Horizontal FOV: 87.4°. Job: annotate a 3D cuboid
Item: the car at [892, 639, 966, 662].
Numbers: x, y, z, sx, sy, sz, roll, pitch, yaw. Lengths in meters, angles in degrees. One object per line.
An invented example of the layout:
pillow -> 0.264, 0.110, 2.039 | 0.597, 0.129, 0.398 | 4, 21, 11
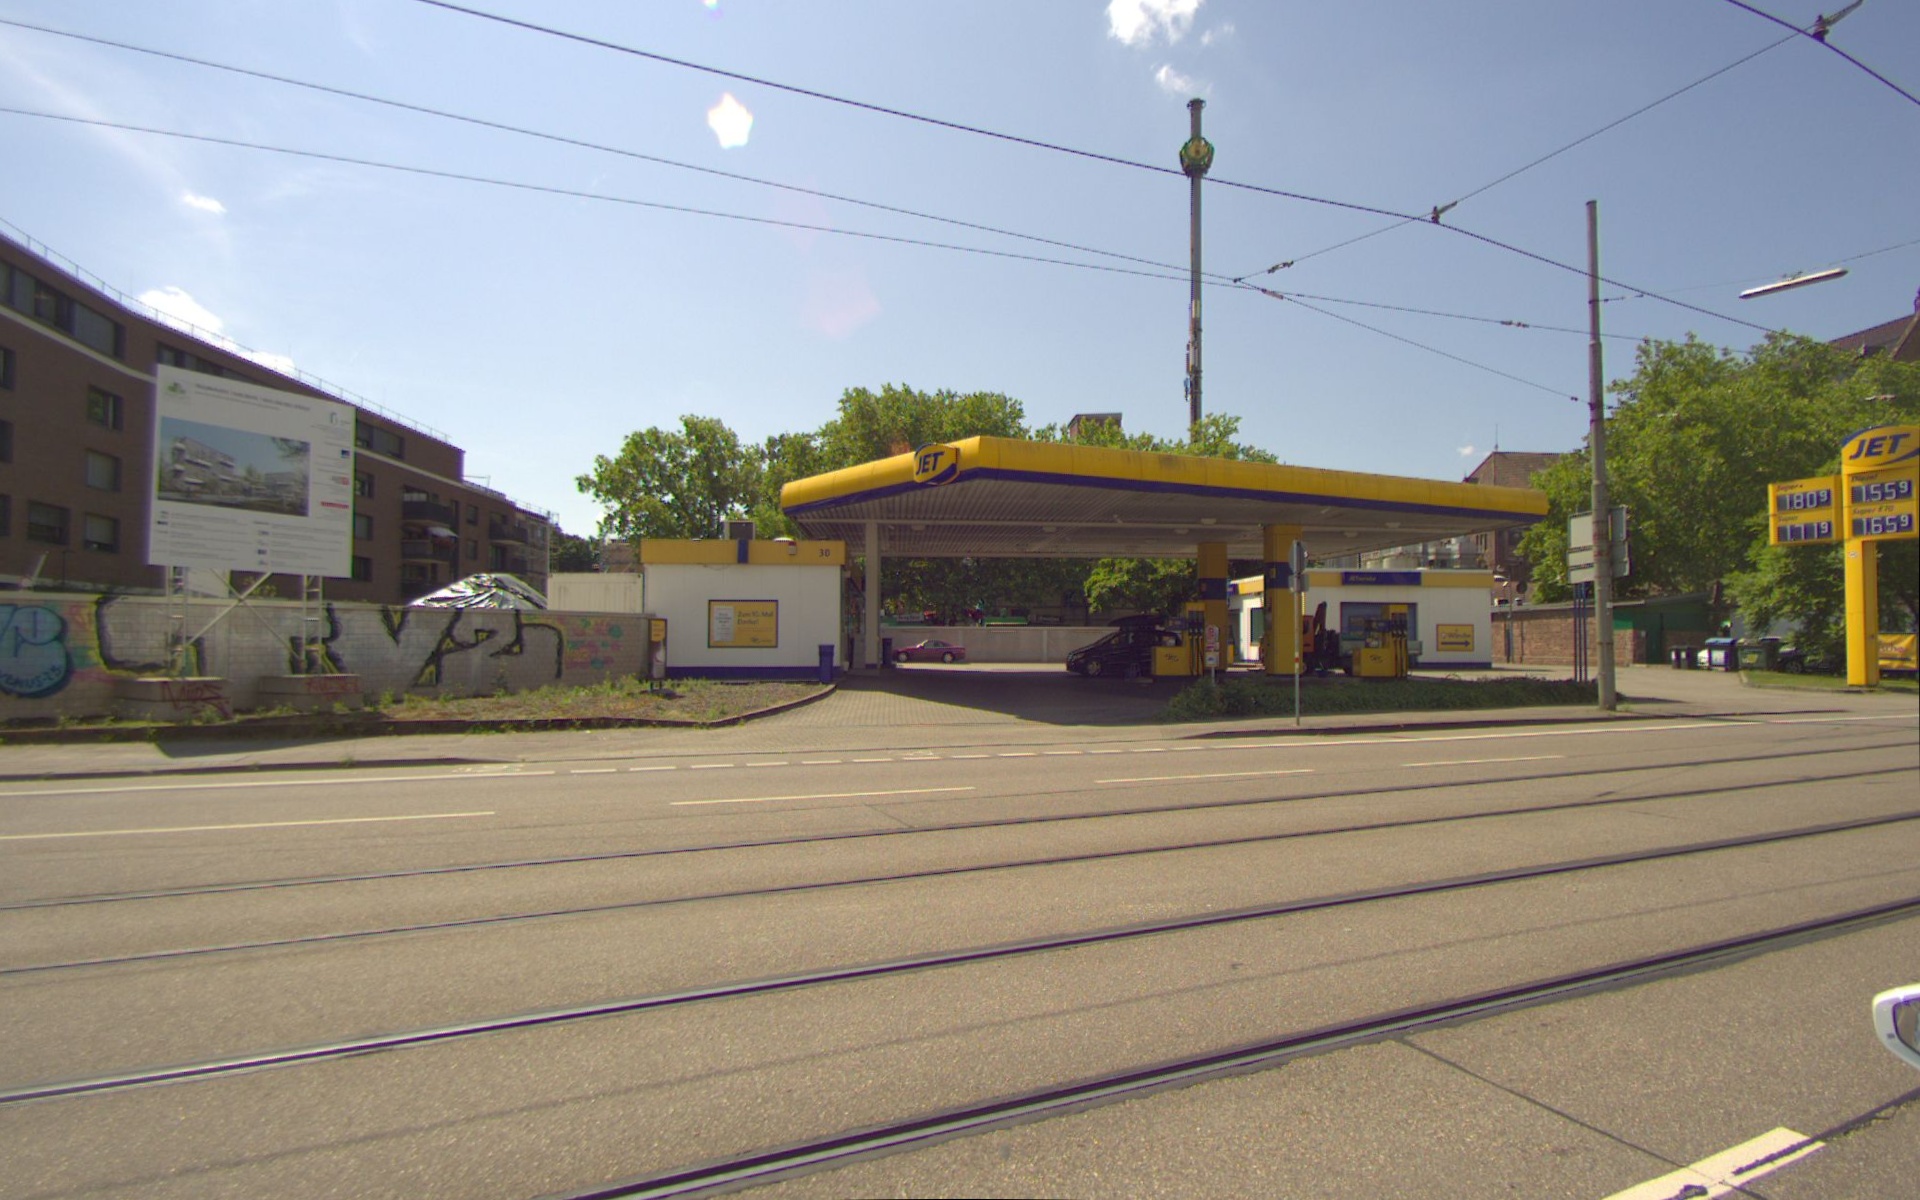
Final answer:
car -> -1.734, 2.801, 55.487 | 3.926, 1.226, 1.757 | 1, -2, -8

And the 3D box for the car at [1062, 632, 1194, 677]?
car -> 5.767, 1.883, 34.876 | 4.256, 1.498, 2.001 | 0, -2, 1

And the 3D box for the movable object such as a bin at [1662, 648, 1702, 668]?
movable object such as a bin -> 32.857, 2.616, 45.708 | 0.744, 0.885, 1.347 | 0, -2, -8

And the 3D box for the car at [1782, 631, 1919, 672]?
car -> 36.039, 2.049, 40.319 | 4.246, 1.611, 2.001 | 0, -2, 17

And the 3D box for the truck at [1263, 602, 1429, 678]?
truck -> 13.531, 1.406, 35.419 | 5.099, 2.531, 2.001 | 1, -2, 3

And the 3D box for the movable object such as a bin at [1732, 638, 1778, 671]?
movable object such as a bin -> 33.245, 2.267, 42.018 | 0.749, 1.372, 1.338 | 1, -2, -29

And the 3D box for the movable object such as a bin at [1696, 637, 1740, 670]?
movable object such as a bin -> 32.956, 2.315, 43.678 | 0.746, 1.372, 1.344 | 1, -2, -16

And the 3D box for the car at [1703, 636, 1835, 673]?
car -> 36.668, 2.443, 45.652 | 4.248, 1.613, 1.911 | 0, -2, 19
